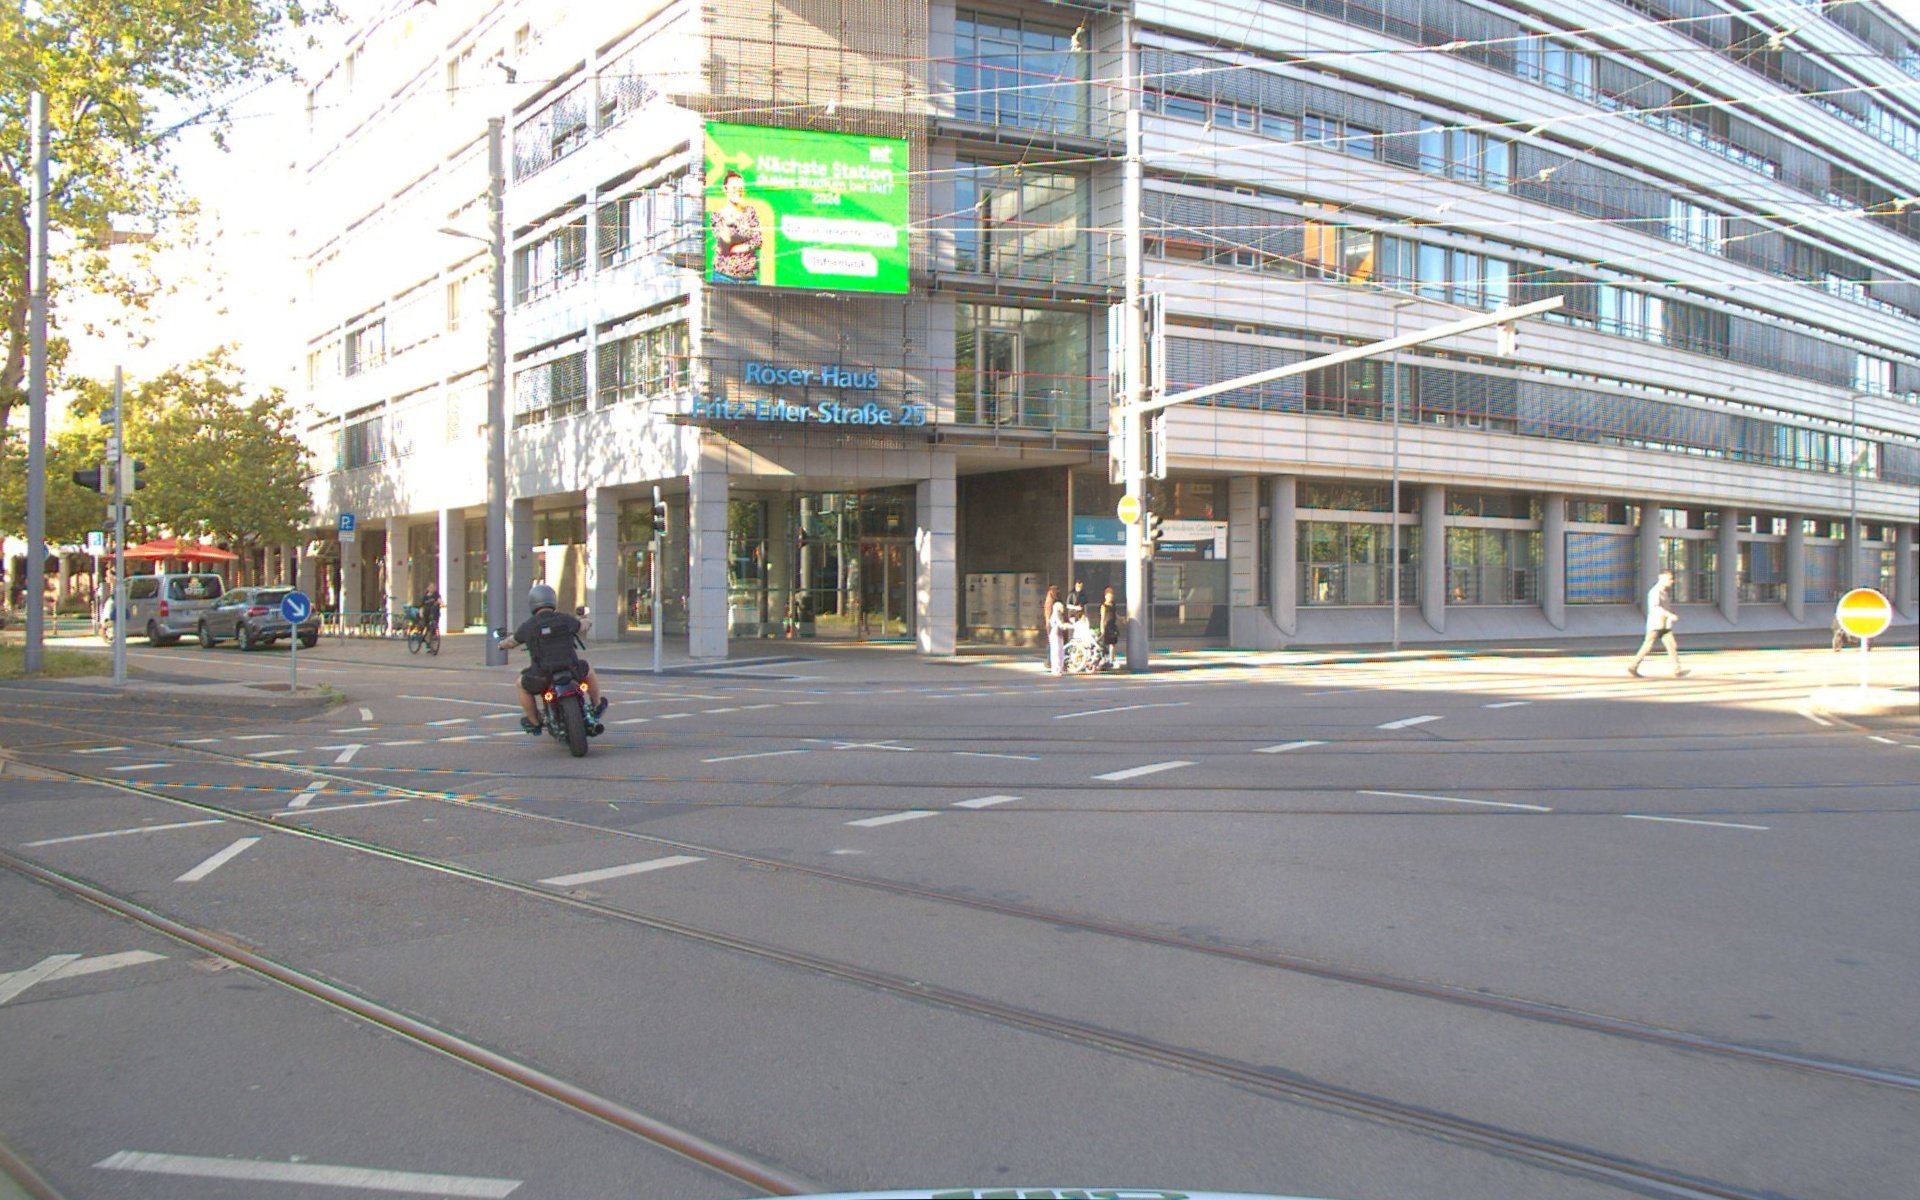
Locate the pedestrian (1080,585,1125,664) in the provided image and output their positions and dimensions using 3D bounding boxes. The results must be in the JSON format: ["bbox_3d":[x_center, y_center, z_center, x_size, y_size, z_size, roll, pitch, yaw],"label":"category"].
[{"bbox_3d":[3.025,0.512,35.197,0.648,1.645,0.713,0,0,-39],"label":"pedestrian"}]

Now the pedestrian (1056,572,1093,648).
[{"bbox_3d":[2.651,0.215,38.369,0.631,1.745,0.689,0,0,29],"label":"pedestrian"}]

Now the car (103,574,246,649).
[{"bbox_3d":[-21.555,0.285,45.295,4.840,1.875,1.916,0,3,44],"label":"car"}]

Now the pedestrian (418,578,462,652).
[{"bbox_3d":[-11.934,0.324,37.978,0.602,1.639,0.824,-4,4,-45],"label":"pedestrian"}]

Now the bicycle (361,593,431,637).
[{"bbox_3d":[-15.741,0.410,46.190,1.823,1.171,0.463,-2,2,-42],"label":"bicycle"}]

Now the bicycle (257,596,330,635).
[{"bbox_3d":[-19.561,0.458,48.555,0.727,1.120,1.863,0,0,40],"label":"bicycle"}]

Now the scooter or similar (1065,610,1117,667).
[{"bbox_3d":[2.692,0.788,33.933,0.993,1.149,0.551,0,0,13],"label":"scooter or similar"}]

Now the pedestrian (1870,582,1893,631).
[{"bbox_3d":[33.702,0.230,60.485,0.636,1.764,0.541,0,0,-42],"label":"pedestrian"}]

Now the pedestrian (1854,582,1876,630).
[{"bbox_3d":[33.338,0.211,60.916,0.636,1.764,0.541,0,0,-42],"label":"pedestrian"}]

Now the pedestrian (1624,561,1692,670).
[{"bbox_3d":[12.027,0.272,28.515,0.671,1.855,0.871,1,-2,-42],"label":"pedestrian"}]

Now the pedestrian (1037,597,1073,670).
[{"bbox_3d":[1.901,0.663,32.967,0.622,1.426,0.547,0,0,13],"label":"pedestrian"}]

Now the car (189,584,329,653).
[{"bbox_3d":[-17.813,0.422,41.926,1.851,1.600,4.344,-3,3,-43],"label":"car"}]

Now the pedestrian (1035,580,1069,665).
[{"bbox_3d":[1.899,0.450,34.115,0.622,1.738,0.582,0,0,13],"label":"pedestrian"}]

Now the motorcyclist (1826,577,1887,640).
[{"bbox_3d":[25.323,0.233,46.720,1.445,1.761,1.008,0,0,-37],"label":"motorcyclist"}]

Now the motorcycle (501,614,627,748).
[{"bbox_3d":[-3.804,0.726,15.737,0.990,1.145,2.311,1,0,-18],"label":"motorcycle"}]

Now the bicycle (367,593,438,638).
[{"bbox_3d":[-15.434,0.423,45.833,1.823,1.171,0.463,-2,2,-42],"label":"bicycle"}]

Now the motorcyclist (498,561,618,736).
[{"bbox_3d":[-3.844,0.430,15.754,1.006,1.579,1.280,1,1,-18],"label":"motorcyclist"}]

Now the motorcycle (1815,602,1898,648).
[{"bbox_3d":[25.341,0.689,46.748,2.912,1.253,0.974,0,0,-37],"label":"motorcycle"}]

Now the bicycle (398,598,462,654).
[{"bbox_3d":[-12.144,0.580,37.853,0.608,1.183,1.818,-4,5,-44],"label":"bicycle"}]
